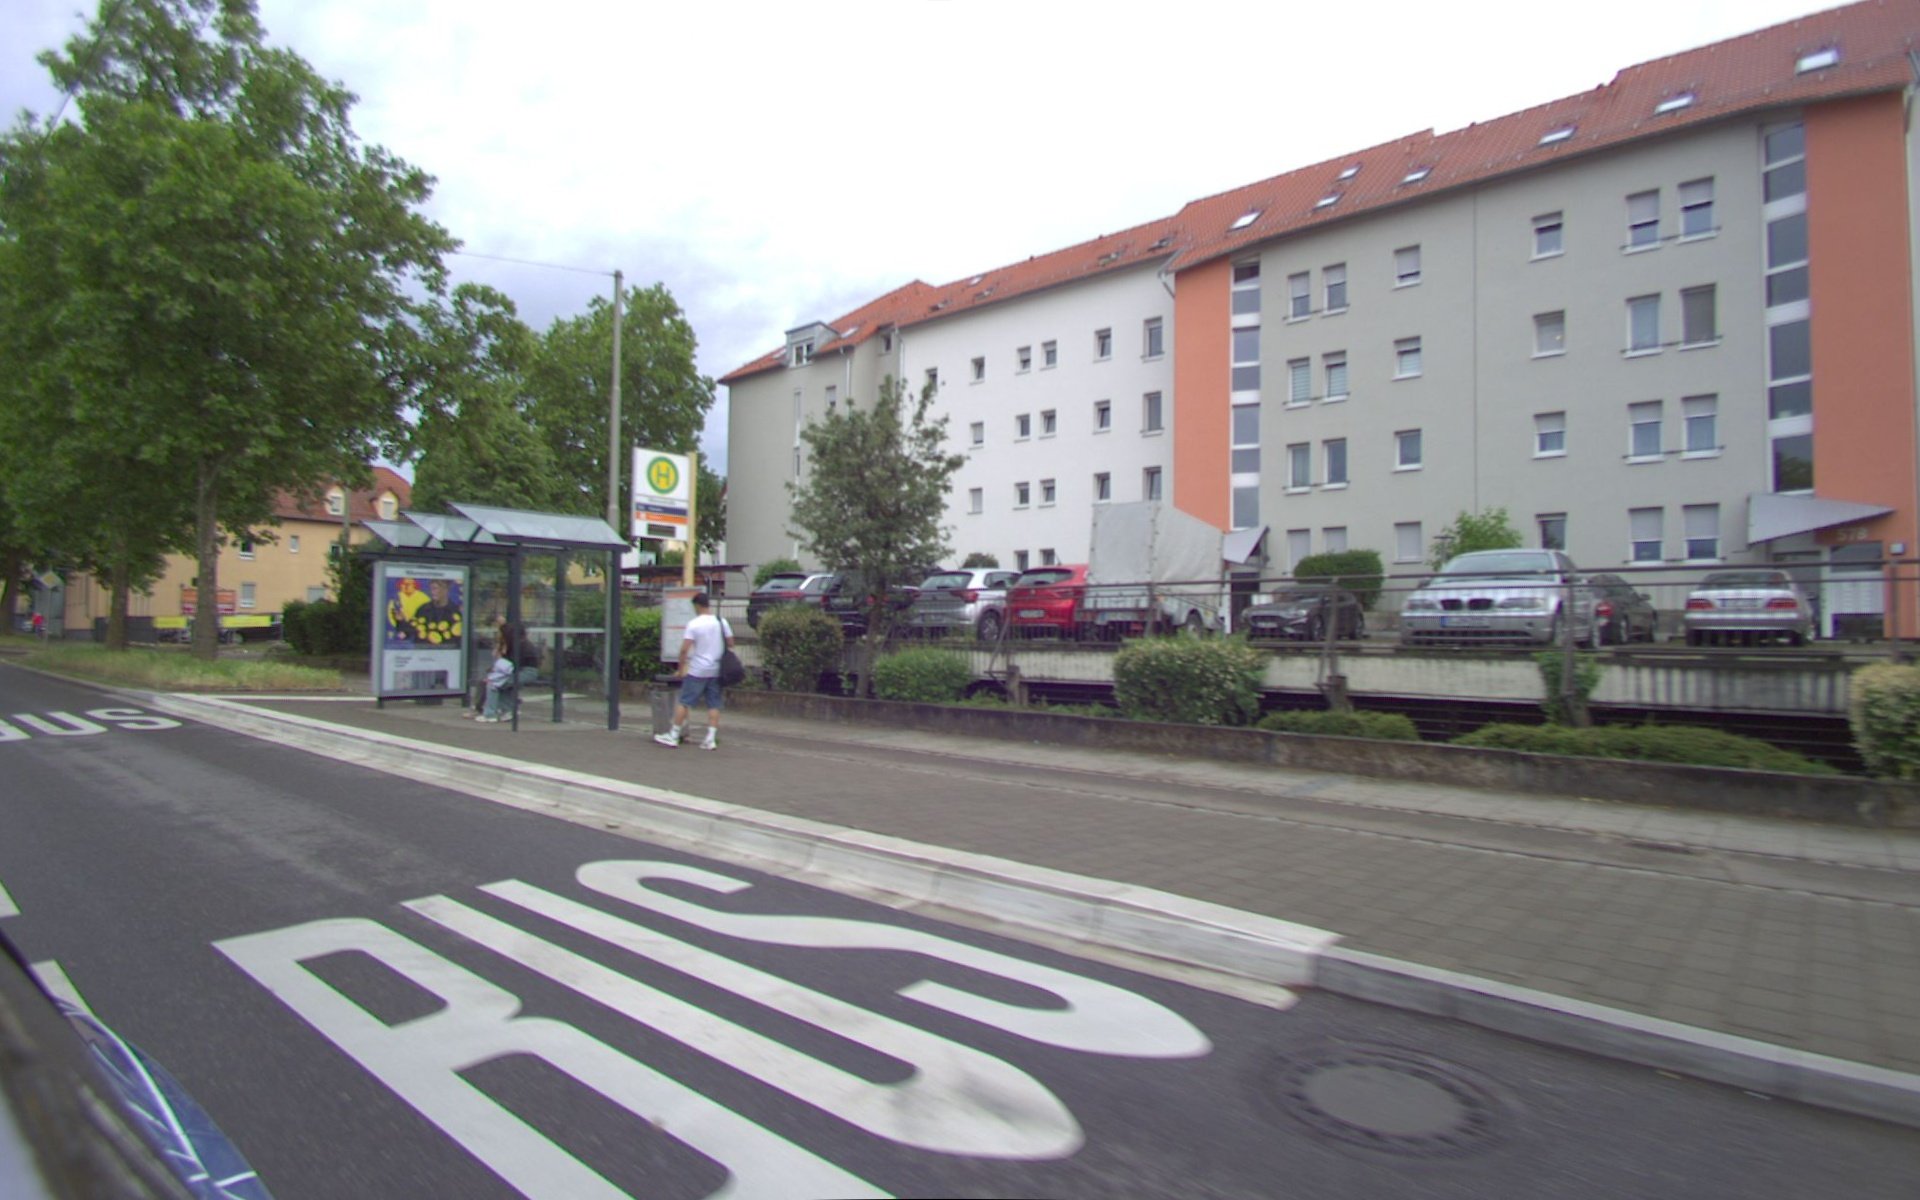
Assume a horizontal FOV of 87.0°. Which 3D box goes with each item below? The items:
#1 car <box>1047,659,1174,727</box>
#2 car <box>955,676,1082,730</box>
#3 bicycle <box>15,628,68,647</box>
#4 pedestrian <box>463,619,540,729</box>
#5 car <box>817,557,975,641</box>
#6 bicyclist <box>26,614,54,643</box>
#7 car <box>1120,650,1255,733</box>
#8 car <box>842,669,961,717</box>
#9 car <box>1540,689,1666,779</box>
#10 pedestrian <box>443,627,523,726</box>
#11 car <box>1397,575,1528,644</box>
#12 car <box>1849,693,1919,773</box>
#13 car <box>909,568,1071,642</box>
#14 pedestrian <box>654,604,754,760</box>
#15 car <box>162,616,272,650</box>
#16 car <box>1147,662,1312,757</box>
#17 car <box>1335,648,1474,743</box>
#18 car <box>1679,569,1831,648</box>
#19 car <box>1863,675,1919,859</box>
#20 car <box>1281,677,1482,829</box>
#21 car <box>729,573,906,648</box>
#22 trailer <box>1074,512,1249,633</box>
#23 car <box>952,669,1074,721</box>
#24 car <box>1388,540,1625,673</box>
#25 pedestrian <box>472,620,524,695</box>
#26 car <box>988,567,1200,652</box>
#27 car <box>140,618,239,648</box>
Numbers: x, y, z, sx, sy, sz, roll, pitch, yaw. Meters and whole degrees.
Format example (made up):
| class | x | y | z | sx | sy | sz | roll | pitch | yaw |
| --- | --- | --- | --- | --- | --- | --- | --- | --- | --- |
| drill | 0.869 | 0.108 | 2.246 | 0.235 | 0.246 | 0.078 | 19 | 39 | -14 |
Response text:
| class | x | y | z | sx | sy | sz | roll | pitch | yaw |
| --- | --- | --- | --- | --- | --- | --- | --- | --- | --- |
| car | 4.592 | 2.735 | 30.574 | 2.000 | 1.763 | 3.848 | -1 | -2 | 43 |
| car | 1.926 | 3.253 | 32.594 | 2.065 | 1.407 | 3.943 | -1 | -2 | 43 |
| bicycle | -50.747 | 2.058 | 55.937 | 2.229 | 1.003 | 0.557 | 1 | 0 | -9 |
| pedestrian | -6.227 | 1.004 | 13.750 | 0.641 | 1.429 | 0.680 | 1 | -4 | 44 |
| car | -1.230 | -0.032 | 20.327 | 1.436 | 1.554 | 3.098 | 1 | 0 | 40 |
| bicyclist | -50.789 | 1.554 | 55.895 | 0.804 | 1.564 | 0.837 | 1 | 0 | -9 |
| car | 6.464 | 2.492 | 28.484 | 2.000 | 2.029 | 3.943 | -1 | -2 | 43 |
| car | -2.037 | 3.250 | 36.092 | 2.065 | 1.407 | 3.943 | -1 | -2 | 43 |
| car | 13.873 | 2.805 | 21.767 | 1.718 | 1.414 | 3.480 | 1 | 1 | 42 |
| pedestrian | -6.736 | 1.066 | 14.303 | 0.641 | 1.327 | 0.766 | 1 | -3 | 44 |
| car | 11.277 | 0.188 | 22.623 | 1.718 | 1.414 | 3.480 | 1 | 1 | 42 |
| car | 16.508 | 2.281 | 17.634 | 1.378 | 1.091 | 3.162 | -1 | -2 | 44 |
| car | 0.625 | 0.075 | 19.089 | 1.436 | 1.279 | 3.098 | 1 | 1 | 40 |
| pedestrian | -2.776 | 0.882 | 10.994 | 0.607 | 1.610 | 0.733 | 1 | -5 | 44 |
| car | -38.017 | 1.660 | 51.846 | 1.980 | 1.550 | 4.166 | 1 | 1 | 39 |
| car | 5.355 | 2.043 | 19.808 | 1.589 | 1.415 | 3.928 | 1 | 1 | 40 |
| car | 11.050 | 2.262 | 25.064 | 1.943 | 2.029 | 3.863 | -1 | -1 | 44 |
| car | 14.903 | 0.158 | 18.895 | 1.797 | 1.305 | 3.942 | -1 | -1 | 44 |
| car | 10.710 | 1.668 | 10.507 | 1.859 | 1.435 | 4.311 | 1 | 1 | 40 |
| car | 6.176 | 2.069 | 14.645 | 1.704 | 1.710 | 3.473 | -1 | -2 | 40 |
| car | -3.092 | 0.196 | 22.501 | 1.894 | 1.509 | 3.619 | 1 | 0 | 37 |
| trailer | 3.104 | -0.372 | 15.356 | 1.479 | 1.658 | 2.676 | 0 | 0 | 41 |
| car | 1.768 | 3.021 | 32.793 | 1.887 | 1.407 | 3.943 | -1 | -2 | 43 |
| car | 7.244 | 0.059 | 13.183 | 1.859 | 1.435 | 4.311 | 1 | 1 | 40 |
| pedestrian | -10.355 | 1.266 | 22.682 | 0.833 | 1.623 | 0.748 | 1 | 0 | 36 |
| car | 2.463 | 0.141 | 17.836 | 1.809 | 1.312 | 4.046 | 1 | 1 | 40 |
| car | -42.023 | 1.770 | 55.276 | 1.958 | 1.509 | 4.054 | -1 | -1 | 43 |
